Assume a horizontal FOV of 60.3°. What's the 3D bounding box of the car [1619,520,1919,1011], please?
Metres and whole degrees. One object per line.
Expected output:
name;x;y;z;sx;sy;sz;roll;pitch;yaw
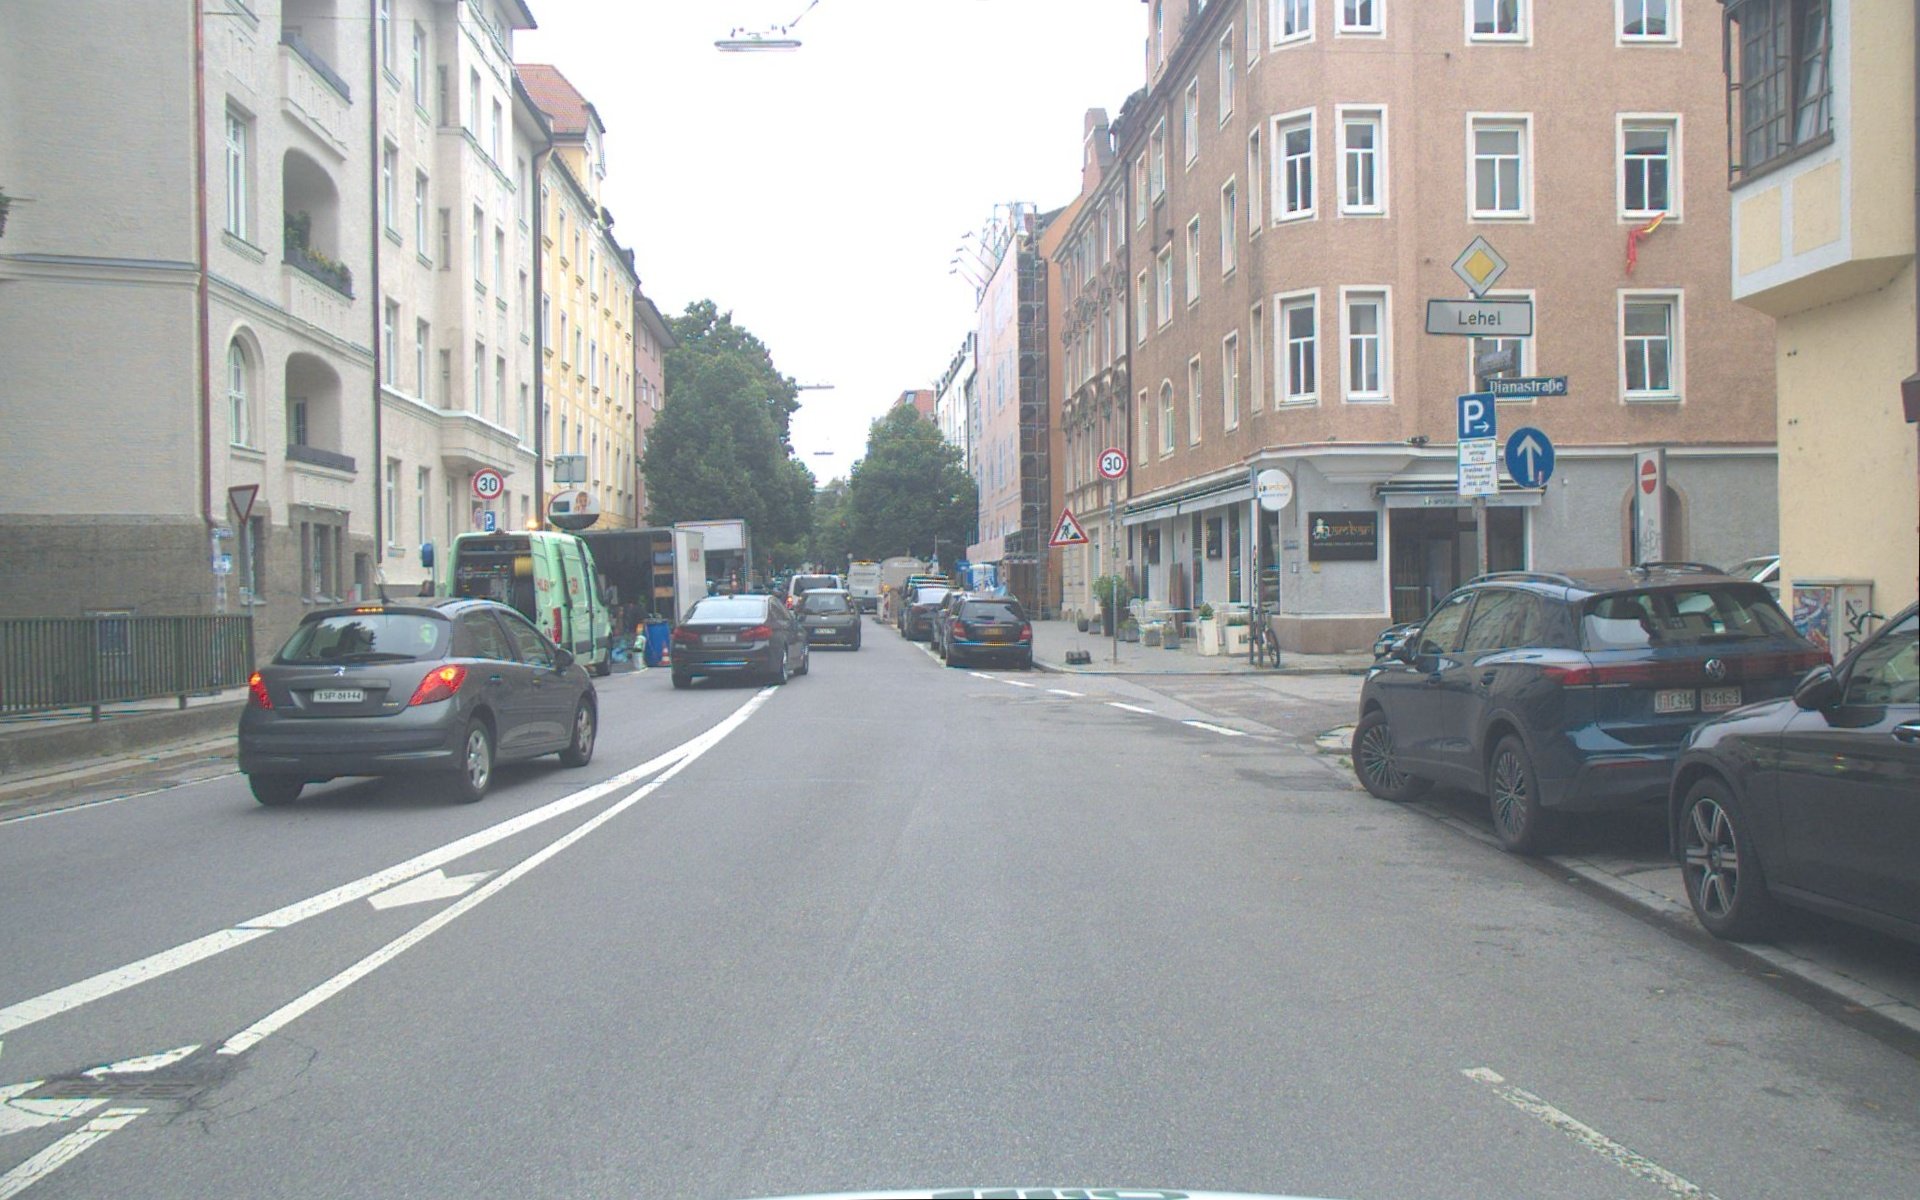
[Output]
car;4.172;0.542;5.892;1.721;1.708;4.706;-2;0;0

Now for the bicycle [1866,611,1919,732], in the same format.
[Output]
bicycle;8.122;0.600;13.669;0.265;0.994;1.683;0;0;-3

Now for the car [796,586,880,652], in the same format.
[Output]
car;-2.971;0.425;40.811;1.950;1.454;4.138;-1;1;-3

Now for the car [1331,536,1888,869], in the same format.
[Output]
car;4.007;0.531;11.150;1.782;1.708;4.508;-2;0;-2

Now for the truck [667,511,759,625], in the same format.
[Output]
truck;-9.202;-1.169;62.256;2.954;4.020;6.988;0;0;-5

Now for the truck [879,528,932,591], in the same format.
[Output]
truck;-2.762;-1.976;82.447;2.443;3.025;5.323;0;0;-4

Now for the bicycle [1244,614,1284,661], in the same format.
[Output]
bicycle;5.499;0.672;29.930;0.447;0.819;1.326;0;0;-1

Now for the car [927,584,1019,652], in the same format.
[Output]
car;0.263;0.397;40.054;1.808;1.454;4.136;2;1;-5

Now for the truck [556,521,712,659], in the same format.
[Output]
truck;-7.538;-0.300;39.155;2.719;2.923;7.196;-1;1;-4

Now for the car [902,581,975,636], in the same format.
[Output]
car;-0.680;0.213;48.983;1.808;1.454;4.302;2;1;-5

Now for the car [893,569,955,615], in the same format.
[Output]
car;-1.265;-0.294;56.490;1.950;1.454;4.138;-1;1;-3

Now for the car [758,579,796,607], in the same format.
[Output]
car;-9.844;-0.369;89.164;1.901;1.473;3.863;0;0;-4

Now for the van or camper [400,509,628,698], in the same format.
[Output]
van or camper;-7.548;-0.022;28.799;2.549;2.889;6.182;-1;1;-3

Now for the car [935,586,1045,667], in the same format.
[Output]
car;0.561;0.499;34.225;1.808;1.454;4.180;2;1;-5

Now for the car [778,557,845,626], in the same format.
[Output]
car;-4.748;-0.317;53.336;1.950;2.111;4.138;-1;1;-3

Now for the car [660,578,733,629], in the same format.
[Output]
car;-8.690;0.091;54.754;1.950;1.638;4.138;0;0;-3

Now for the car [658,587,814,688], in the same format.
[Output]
car;-3.678;0.561;27.996;1.949;1.454;4.906;-1;1;0

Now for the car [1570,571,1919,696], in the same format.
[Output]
car;10.398;0.411;21.956;3.955;1.482;1.746;-1;2;-2

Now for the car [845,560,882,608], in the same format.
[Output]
car;-5.192;-0.883;89.371;1.900;2.523;4.781;0;0;-2

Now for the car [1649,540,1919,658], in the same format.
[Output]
car;14.806;-0.016;28.461;5.026;1.886;2.098;-1;-1;-4

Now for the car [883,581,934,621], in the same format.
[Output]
car;-2.102;0.016;66.383;1.950;1.454;4.138;-1;1;-3

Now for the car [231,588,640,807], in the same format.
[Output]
car;-4.052;0.668;13.542;1.721;1.486;4.077;-1;0;5

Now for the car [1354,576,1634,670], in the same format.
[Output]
car;8.988;0.396;28.067;4.087;1.454;1.924;-1;-1;-4
